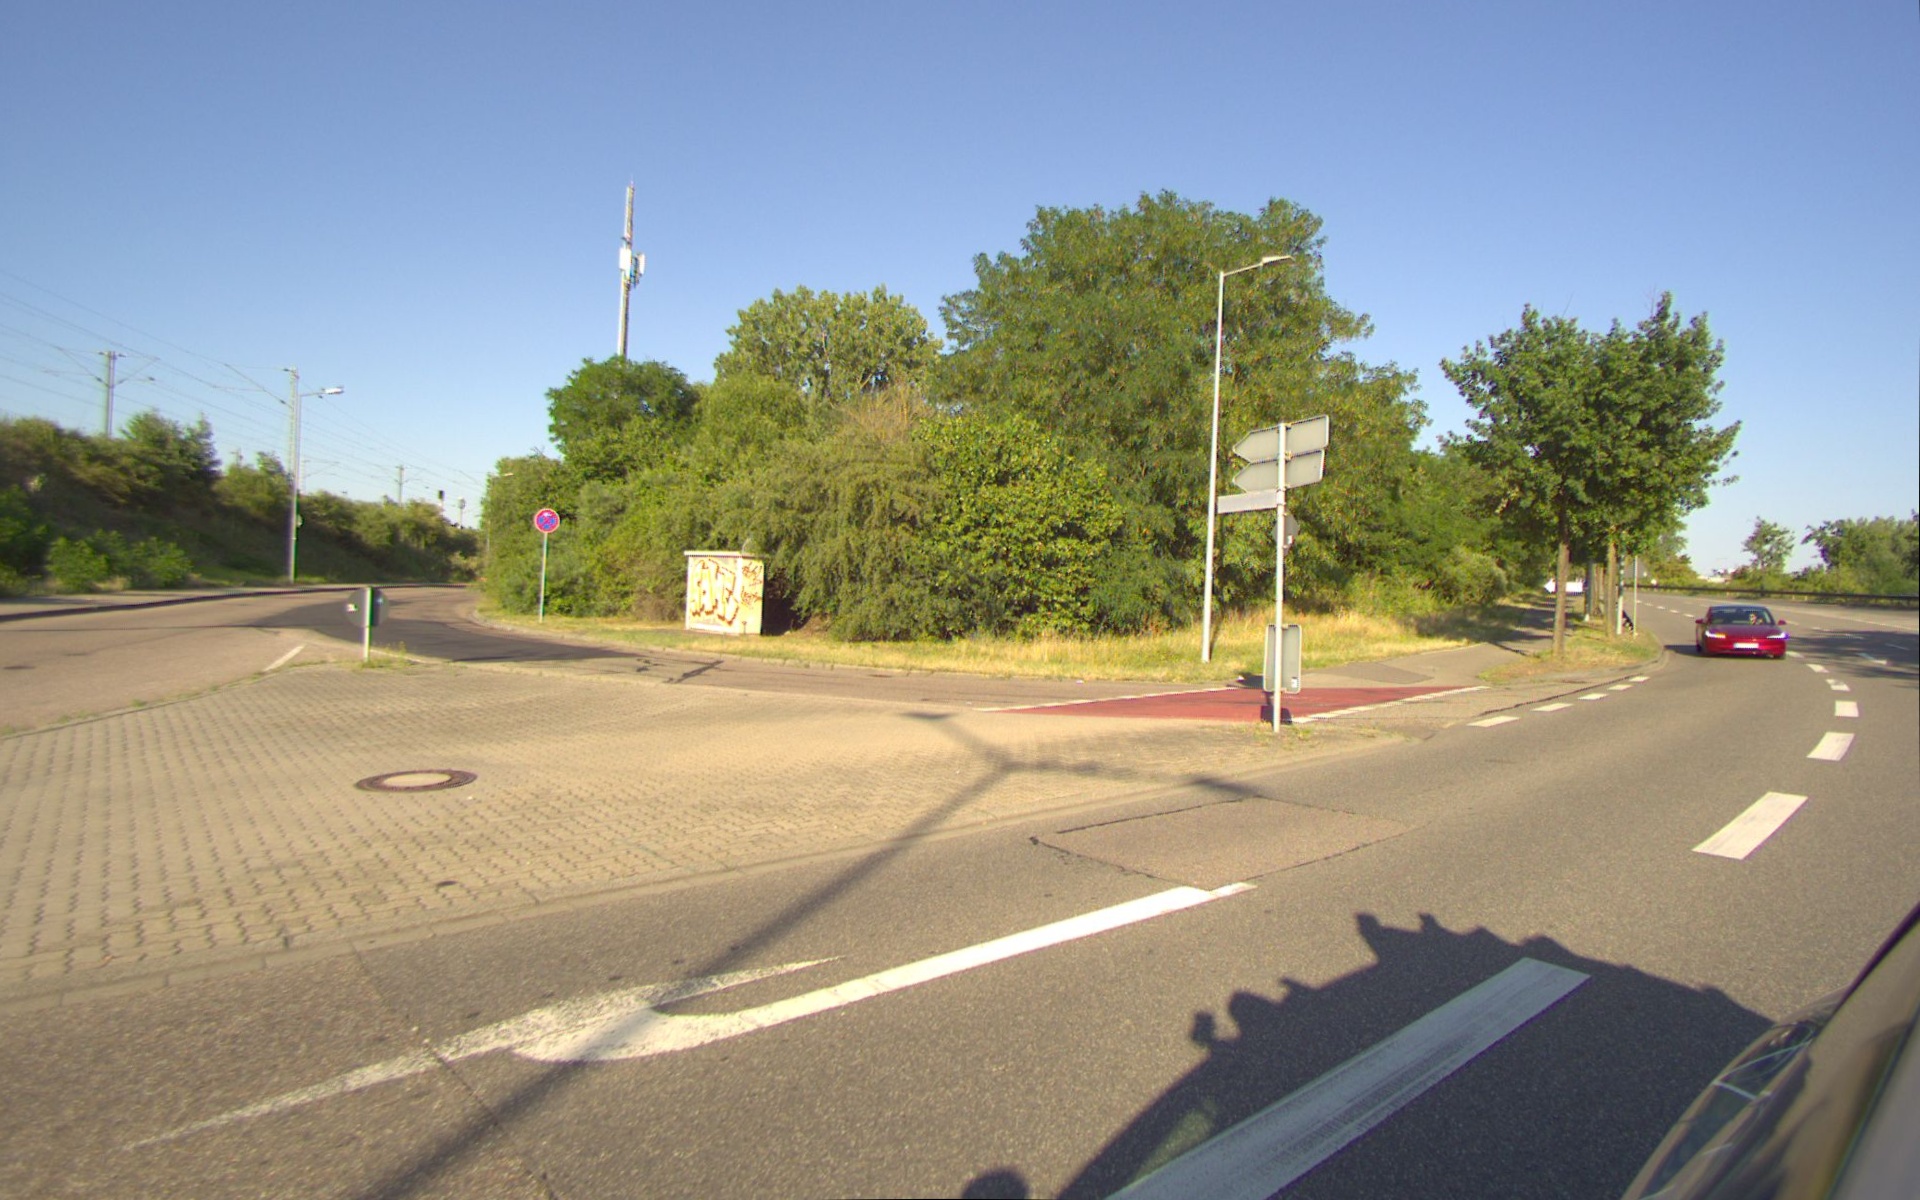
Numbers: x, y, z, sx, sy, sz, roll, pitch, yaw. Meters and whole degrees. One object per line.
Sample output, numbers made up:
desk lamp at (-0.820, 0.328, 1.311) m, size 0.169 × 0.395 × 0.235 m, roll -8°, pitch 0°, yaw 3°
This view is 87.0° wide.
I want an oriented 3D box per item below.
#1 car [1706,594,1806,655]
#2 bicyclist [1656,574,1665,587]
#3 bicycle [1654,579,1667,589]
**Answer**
car at (22.400, 0.614, 28.632) m, size 1.770 × 1.460 × 4.310 m, roll 1°, pitch 2°, yaw 33°
bicyclist at (80.623, -2.246, 116.455) m, size 0.594 × 1.476 × 0.823 m, roll 4°, pitch 3°, yaw 20°
bicycle at (80.646, -1.859, 116.550) m, size 0.577 × 1.090 × 2.298 m, roll 4°, pitch 4°, yaw 20°
